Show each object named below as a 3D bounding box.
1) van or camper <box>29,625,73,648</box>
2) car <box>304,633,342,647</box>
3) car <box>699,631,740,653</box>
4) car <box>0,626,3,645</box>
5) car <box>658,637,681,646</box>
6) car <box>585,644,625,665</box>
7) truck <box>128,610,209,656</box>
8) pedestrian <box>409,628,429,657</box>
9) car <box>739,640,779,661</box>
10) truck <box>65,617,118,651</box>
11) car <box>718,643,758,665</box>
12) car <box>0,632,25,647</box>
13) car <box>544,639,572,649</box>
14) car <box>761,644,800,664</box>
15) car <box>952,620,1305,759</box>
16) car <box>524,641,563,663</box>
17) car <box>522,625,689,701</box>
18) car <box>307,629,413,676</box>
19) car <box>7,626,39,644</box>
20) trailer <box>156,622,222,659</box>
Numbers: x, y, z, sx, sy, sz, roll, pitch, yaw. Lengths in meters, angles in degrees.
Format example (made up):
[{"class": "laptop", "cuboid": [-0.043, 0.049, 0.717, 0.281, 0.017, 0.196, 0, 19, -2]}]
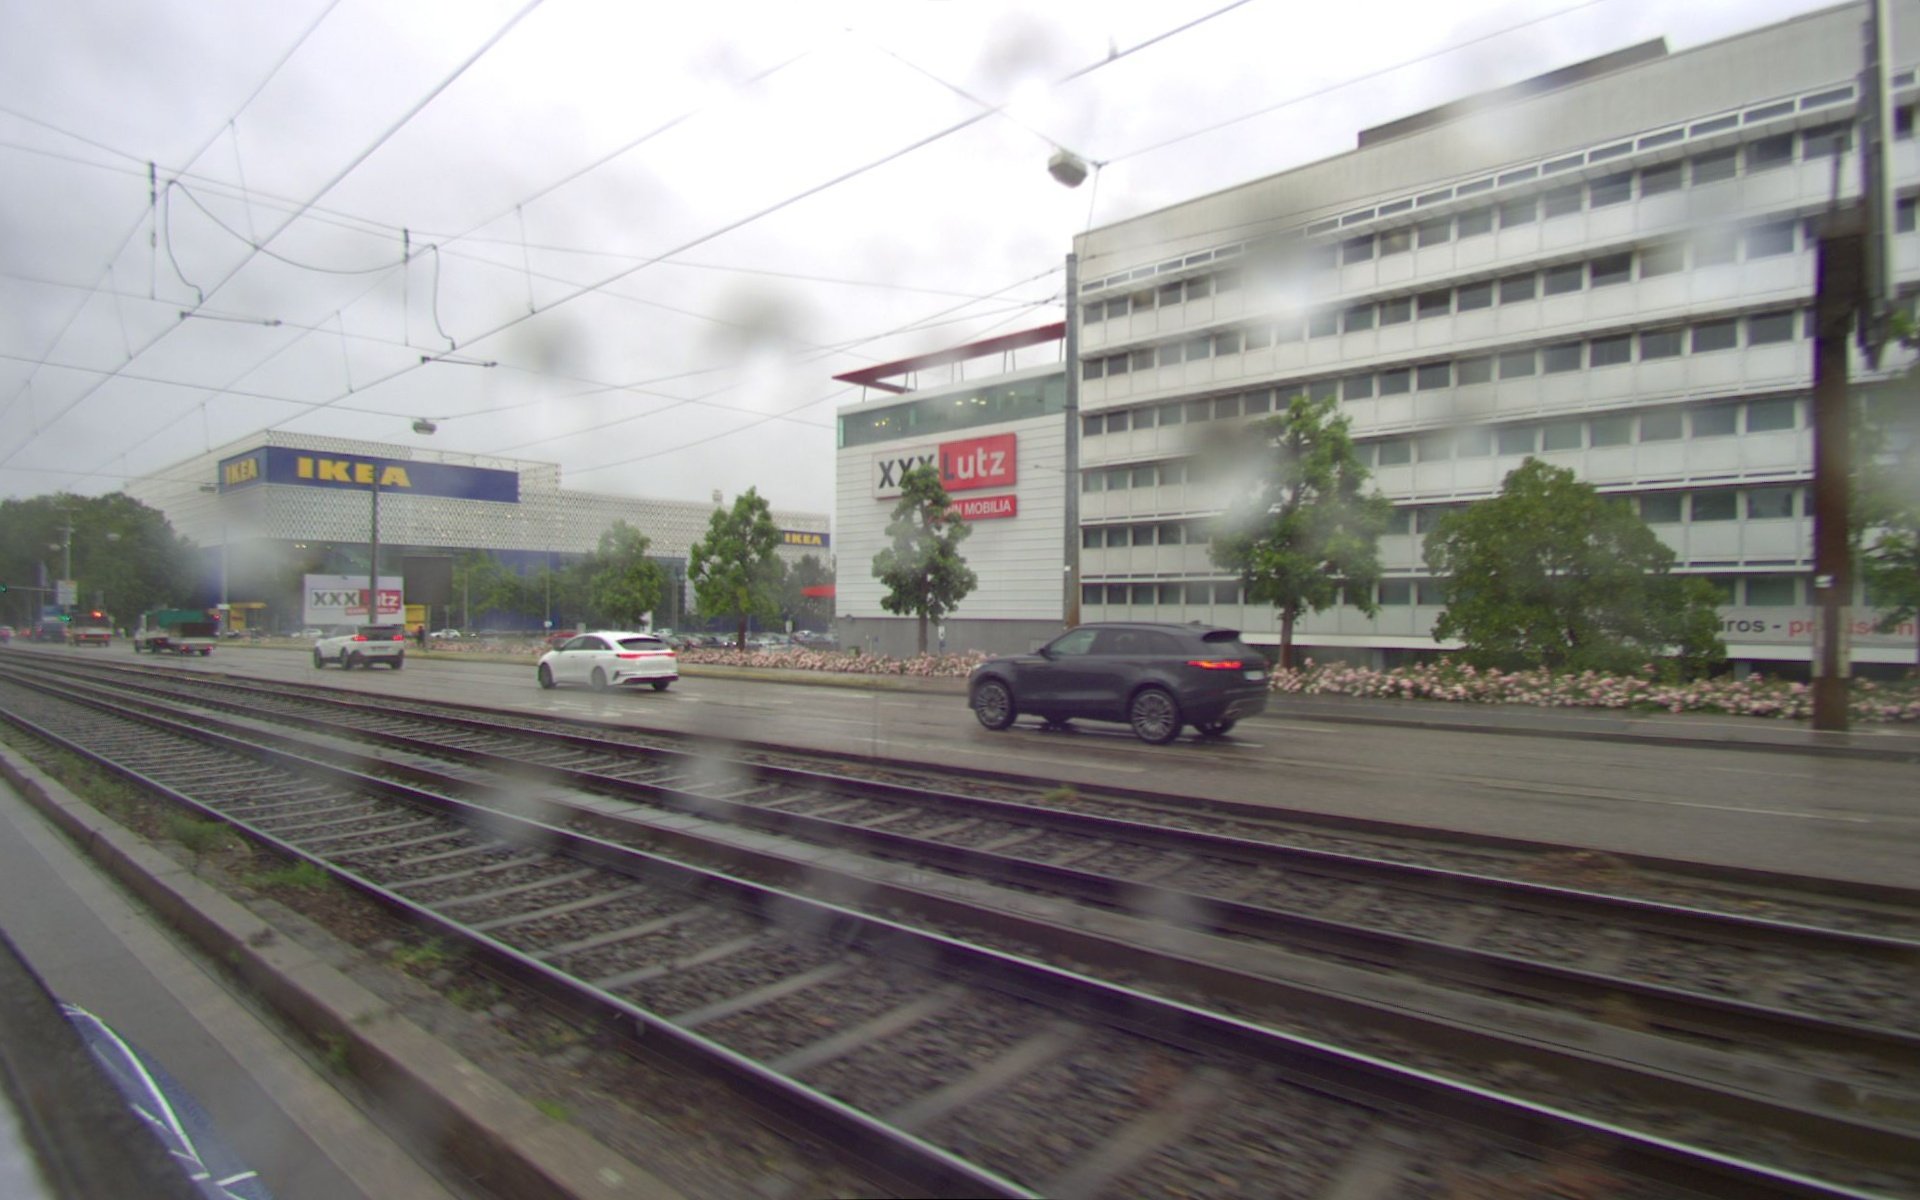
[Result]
[{"class": "van or camper", "cuboid": [-81.014, 3.215, 90.155, 5.684, 2.029, 2.280, -1, -2, 42]}, {"class": "car", "cuboid": [-87.247, 5.434, 138.654, 1.999, 1.615, 4.053, -1, 1, 41]}, {"class": "car", "cuboid": [-24.388, 4.237, 102.503, 3.995, 2.029, 1.974, -1, 1, 39]}, {"class": "car", "cuboid": [-86.609, 3.148, 89.928, 4.533, 1.635, 1.800, -1, -1, 41]}, {"class": "car", "cuboid": [-52.254, 7.427, 182.054, 1.602, 1.417, 3.771, -1, 1, 43]}, {"class": "car", "cuboid": [-36.860, 5.645, 104.934, 4.086, 2.029, 1.975, -1, 1, 38]}, {"class": "truck", "cuboid": [-45.252, 1.883, 57.789, 7.217, 2.476, 2.409, -1, -3, 42]}, {"class": "pedestrian", "cuboid": [-35.385, 2.779, 66.199, 1.050, 1.775, 0.814, -1, 2, 43]}, {"class": "car", "cuboid": [-21.036, 5.300, 106.050, 3.995, 2.029, 1.974, -1, 1, 39]}, {"class": "truck", "cuboid": [-66.125, 2.567, 77.005, 6.064, 2.480, 2.203, -1, -3, 42]}, {"class": "car", "cuboid": [-22.855, 5.530, 104.168, 3.995, 2.029, 1.974, -1, 1, 39]}, {"class": "car", "cuboid": [-100.928, 4.153, 107.405, 4.552, 1.528, 1.943, -1, -3, 41]}, {"class": "car", "cuboid": [-66.388, 7.183, 167.276, 1.602, 1.417, 3.930, -1, 1, 43]}, {"class": "car", "cuboid": [-19.267, 5.760, 108.365, 3.995, 2.029, 1.974, -1, 1, 39]}, {"class": "car", "cuboid": [2.350, 1.197, 15.040, 4.879, 1.734, 1.973, -2, -3, 41]}, {"class": "car", "cuboid": [-42.892, 5.347, 104.126, 3.995, 2.029, 1.975, -1, 1, 38]}, {"class": "car", "cuboid": [-8.769, 1.465, 24.820, 4.685, 1.695, 1.753, -1, -2, 40]}, {"class": "car", "cuboid": [-21.598, 1.838, 36.352, 4.765, 1.595, 1.972, -2, -3, 42]}, {"class": "car", "cuboid": [-90.187, 3.333, 97.410, 4.907, 1.630, 1.838, -1, -3, 43]}, {"class": "trailer", "cuboid": [-41.130, 2.137, 53.945, 3.835, 1.806, 2.097, -1, 1, 42]}]
